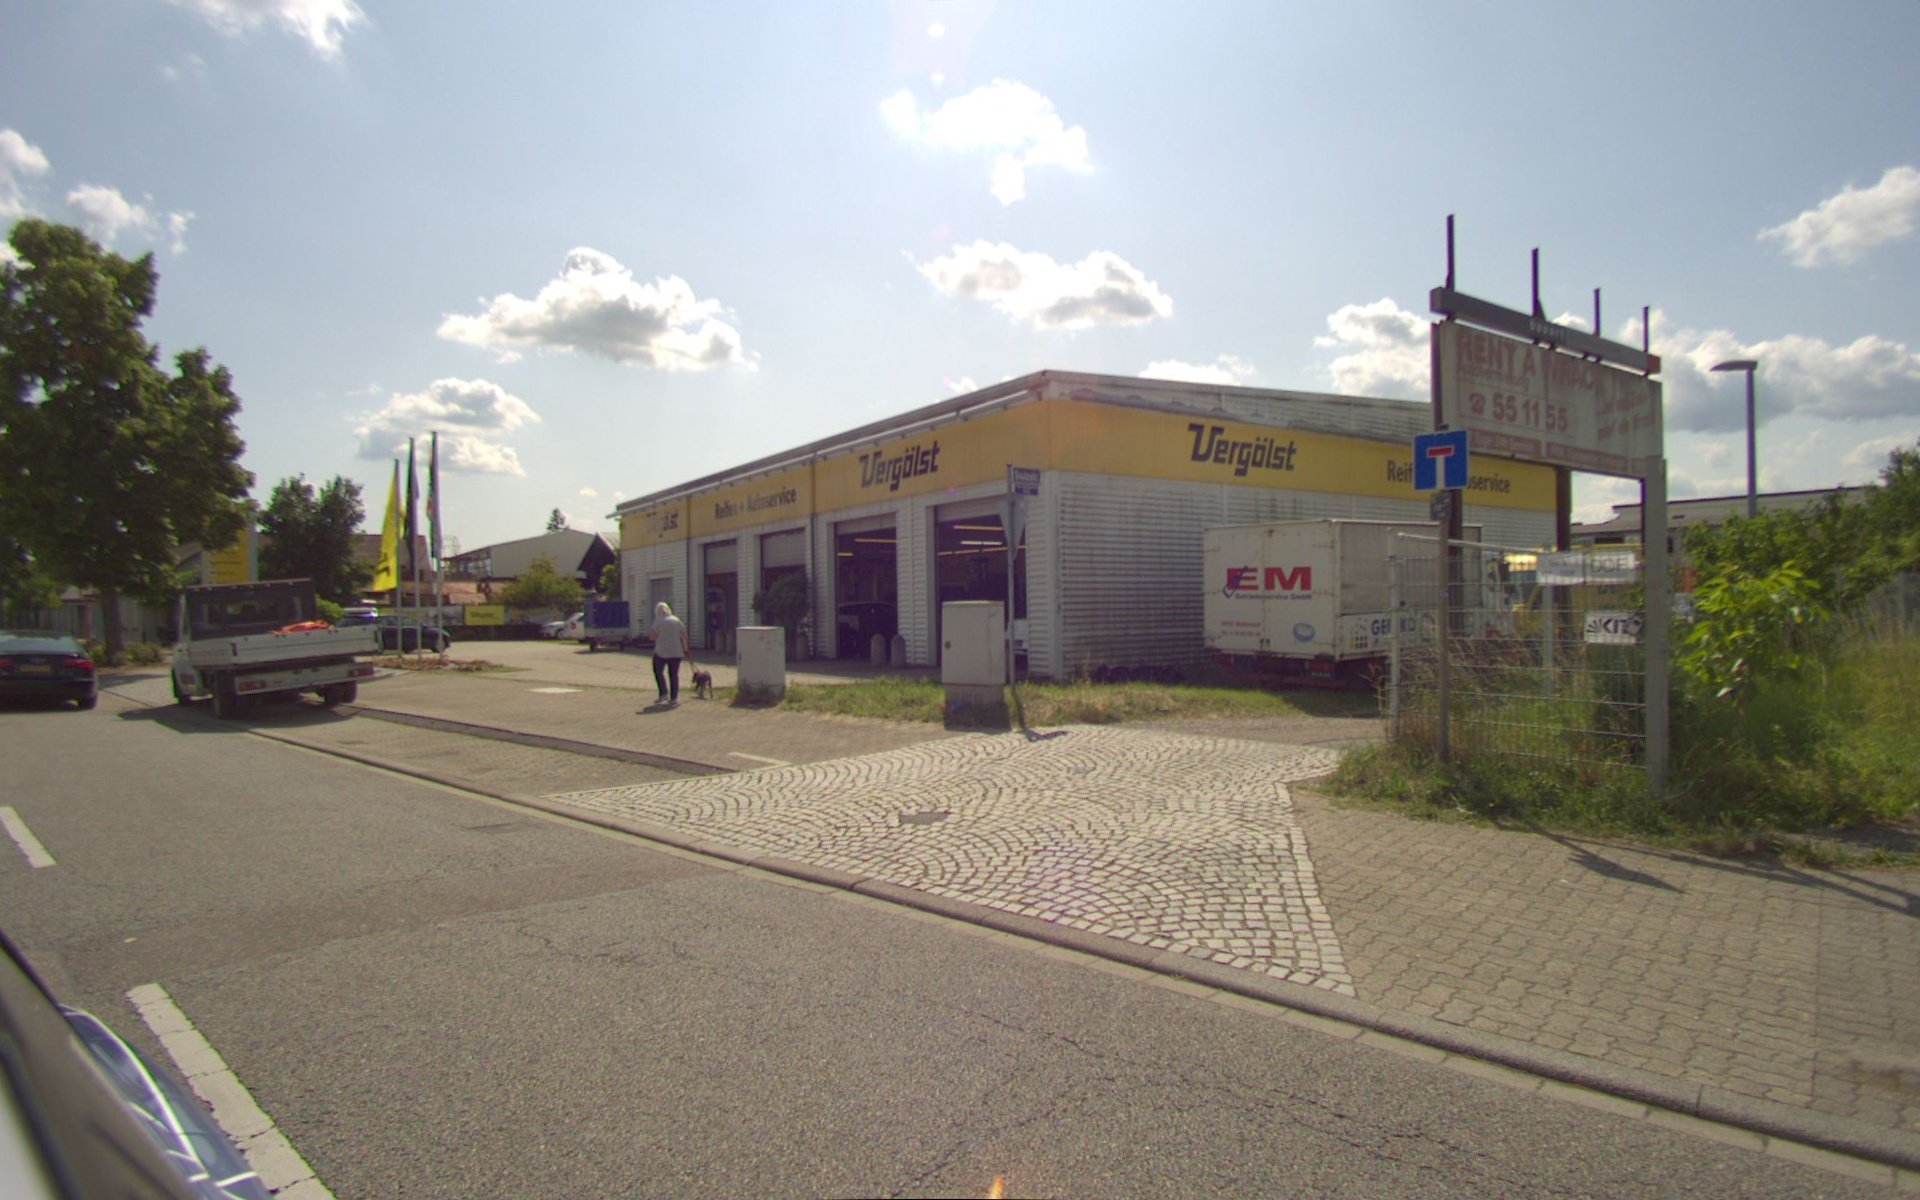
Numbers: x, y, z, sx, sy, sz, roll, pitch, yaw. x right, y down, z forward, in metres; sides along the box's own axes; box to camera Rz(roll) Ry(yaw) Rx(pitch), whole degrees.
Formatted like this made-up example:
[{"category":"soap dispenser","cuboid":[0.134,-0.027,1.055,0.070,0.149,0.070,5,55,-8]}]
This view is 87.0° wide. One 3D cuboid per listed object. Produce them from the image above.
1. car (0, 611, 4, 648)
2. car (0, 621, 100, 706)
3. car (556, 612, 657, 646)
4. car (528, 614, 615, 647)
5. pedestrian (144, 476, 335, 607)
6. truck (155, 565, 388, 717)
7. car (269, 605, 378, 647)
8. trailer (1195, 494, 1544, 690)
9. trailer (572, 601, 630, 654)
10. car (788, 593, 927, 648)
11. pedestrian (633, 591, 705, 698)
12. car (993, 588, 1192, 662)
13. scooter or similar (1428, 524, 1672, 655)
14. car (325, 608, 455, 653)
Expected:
[{"category":"car","cuboid":[-61.345,1.862,63.225,1.968,2.320,4.008,-1,0,-38]},{"category":"car","cuboid":[-17.731,1.136,18.993,4.307,1.449,1.766,-1,-4,41]},{"category":"car","cuboid":[-16.610,1.324,47.648,4.212,1.494,1.675,0,0,-34]},{"category":"car","cuboid":[-20.428,1.579,53.313,3.934,1.622,1.854,-1,0,-35]},{"category":"pedestrian","cuboid":[-12.750,-0.919,17.819,4.001,2.029,1.972,-1,1,43]},{"category":"truck","cuboid":[-12.972,0.663,18.762,7.352,2.255,2.104,-1,2,45]},{"category":"car","cuboid":[-28.920,1.156,46.032,4.034,1.726,1.682,-1,0,-40]},{"category":"trailer","cuboid":[7.364,-0.143,17.857,6.432,2.873,2.765,-1,0,-37]},{"category":"trailer","cuboid":[-12.367,0.899,34.753,1.249,1.705,2.978,-2,1,-31]},{"category":"car","cuboid":[-2.929,0.558,29.036,3.524,1.447,1.795,-1,0,-36]},{"category":"pedestrian","cuboid":[-4.387,0.648,15.242,0.918,1.557,0.653,-2,-1,43]},{"category":"car","cuboid":[2.873,0.480,21.690,3.934,1.411,1.983,-1,0,-36]},{"category":"scooter or similar","cuboid":[12.873,-0.222,22.007,5.390,2.574,2.006,-1,-1,-28]},{"category":"car","cuboid":[-20.443,1.064,36.455,1.845,1.424,3.820,-1,1,19]}]
